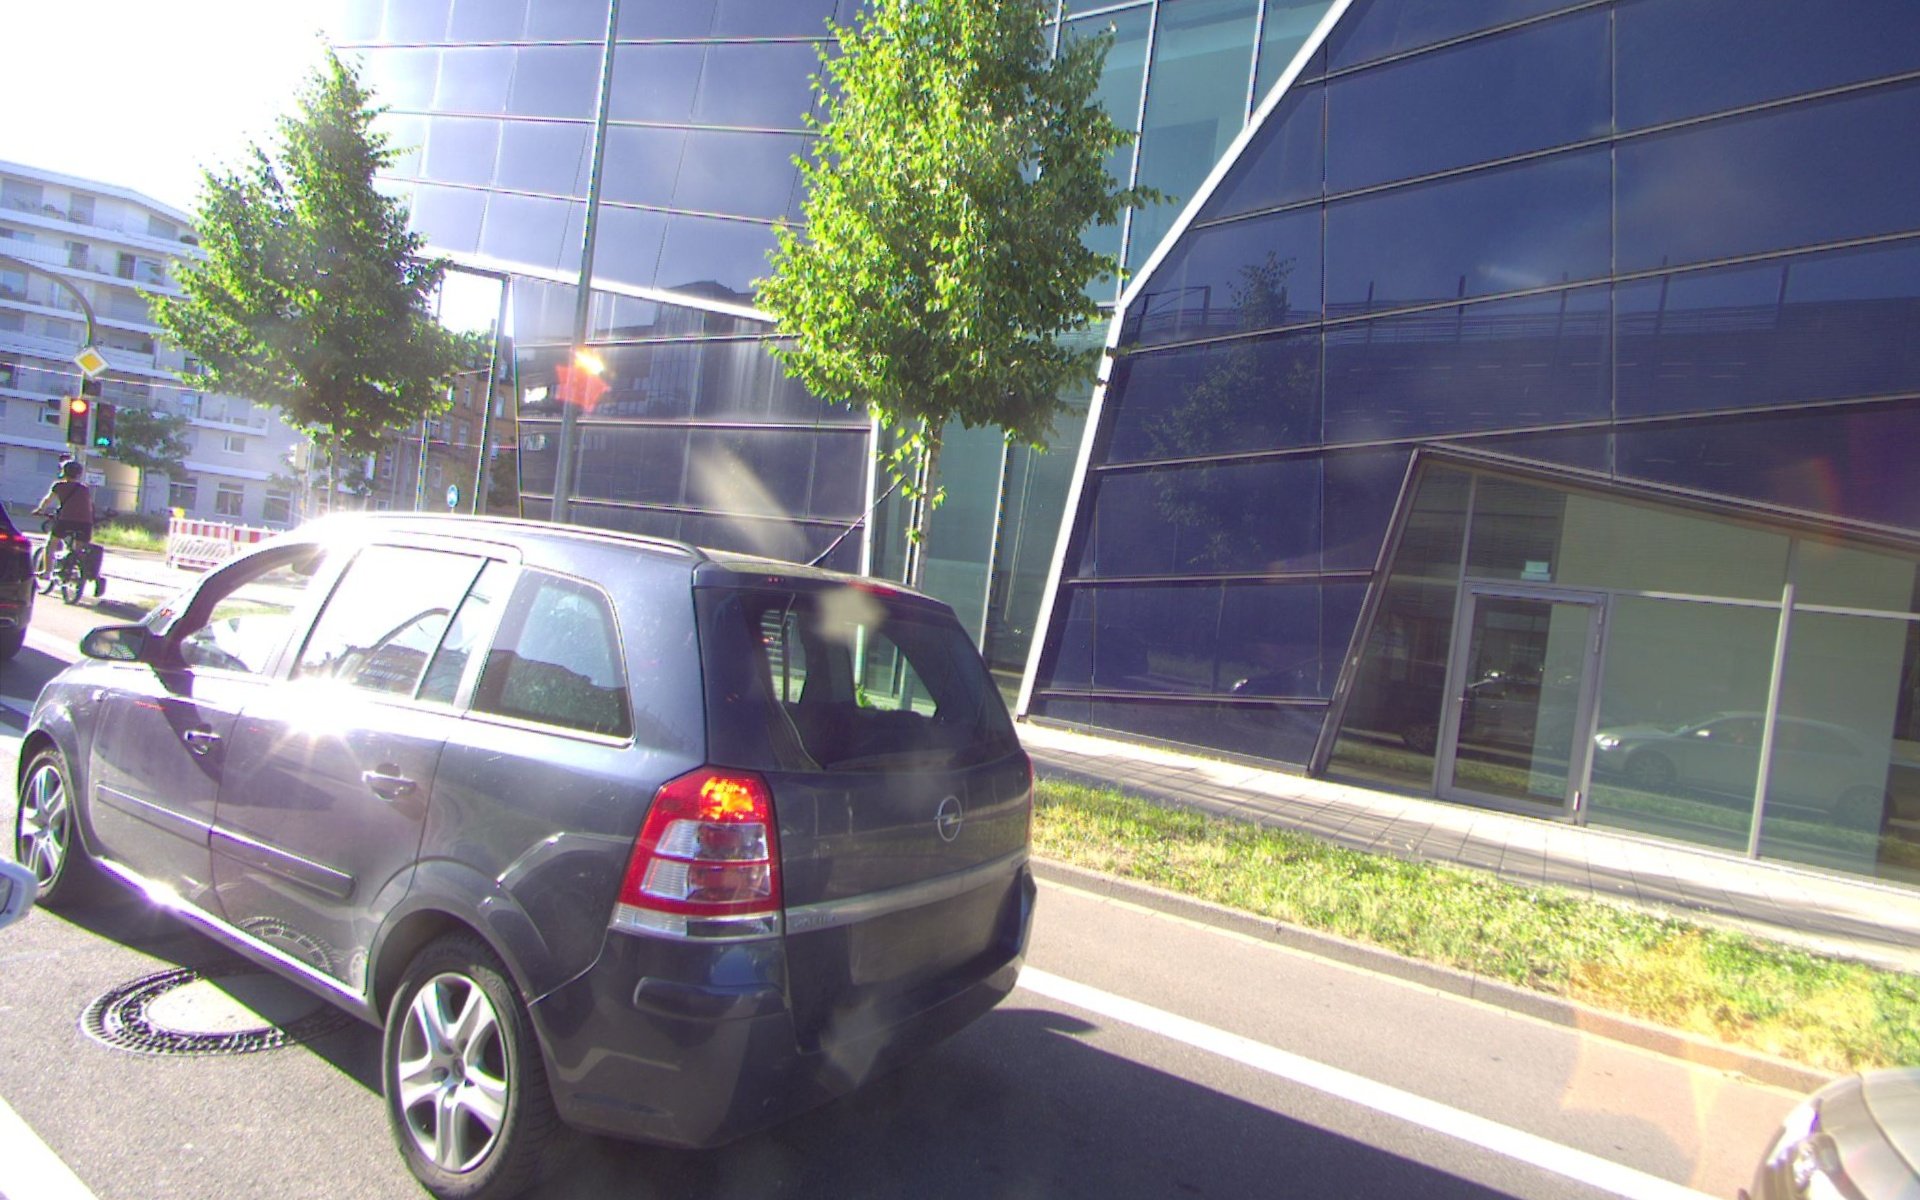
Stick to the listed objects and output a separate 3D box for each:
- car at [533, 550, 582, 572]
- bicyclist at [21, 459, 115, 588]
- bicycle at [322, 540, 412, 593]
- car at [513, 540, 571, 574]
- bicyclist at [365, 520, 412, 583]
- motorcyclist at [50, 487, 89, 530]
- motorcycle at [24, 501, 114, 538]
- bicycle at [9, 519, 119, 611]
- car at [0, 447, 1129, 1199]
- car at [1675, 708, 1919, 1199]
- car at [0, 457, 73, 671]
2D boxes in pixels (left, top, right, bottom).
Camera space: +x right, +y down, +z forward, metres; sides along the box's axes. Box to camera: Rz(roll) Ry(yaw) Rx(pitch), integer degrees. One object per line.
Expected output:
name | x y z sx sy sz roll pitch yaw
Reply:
car | -32.491 -3.140 81.208 3.944 1.371 1.990 6 0 41
bicyclist | -12.491 -1.069 14.080 0.956 1.663 0.654 8 1 35
bicycle | -17.455 -0.987 29.654 2.052 1.278 0.765 7 0 -20
car | -37.099 -3.784 89.341 4.543 2.339 1.989 7 0 -24
bicyclist | -16.930 -1.437 29.815 0.917 1.727 0.765 7 1 -20
motorcyclist | -33.961 -3.475 38.372 0.920 1.500 1.159 6 1 -38
motorcycle | -33.986 -3.073 38.422 2.441 1.013 1.159 7 0 -39
bicycle | -12.564 -0.503 14.086 1.899 1.056 0.654 8 1 35
car | -1.760 0.538 3.705 4.190 1.715 1.749 7 -2 32
car | 3.443 1.195 0.741 4.553 1.499 1.747 7 0 33
car | -10.029 -0.596 8.873 4.299 1.735 2.007 8 -1 32
